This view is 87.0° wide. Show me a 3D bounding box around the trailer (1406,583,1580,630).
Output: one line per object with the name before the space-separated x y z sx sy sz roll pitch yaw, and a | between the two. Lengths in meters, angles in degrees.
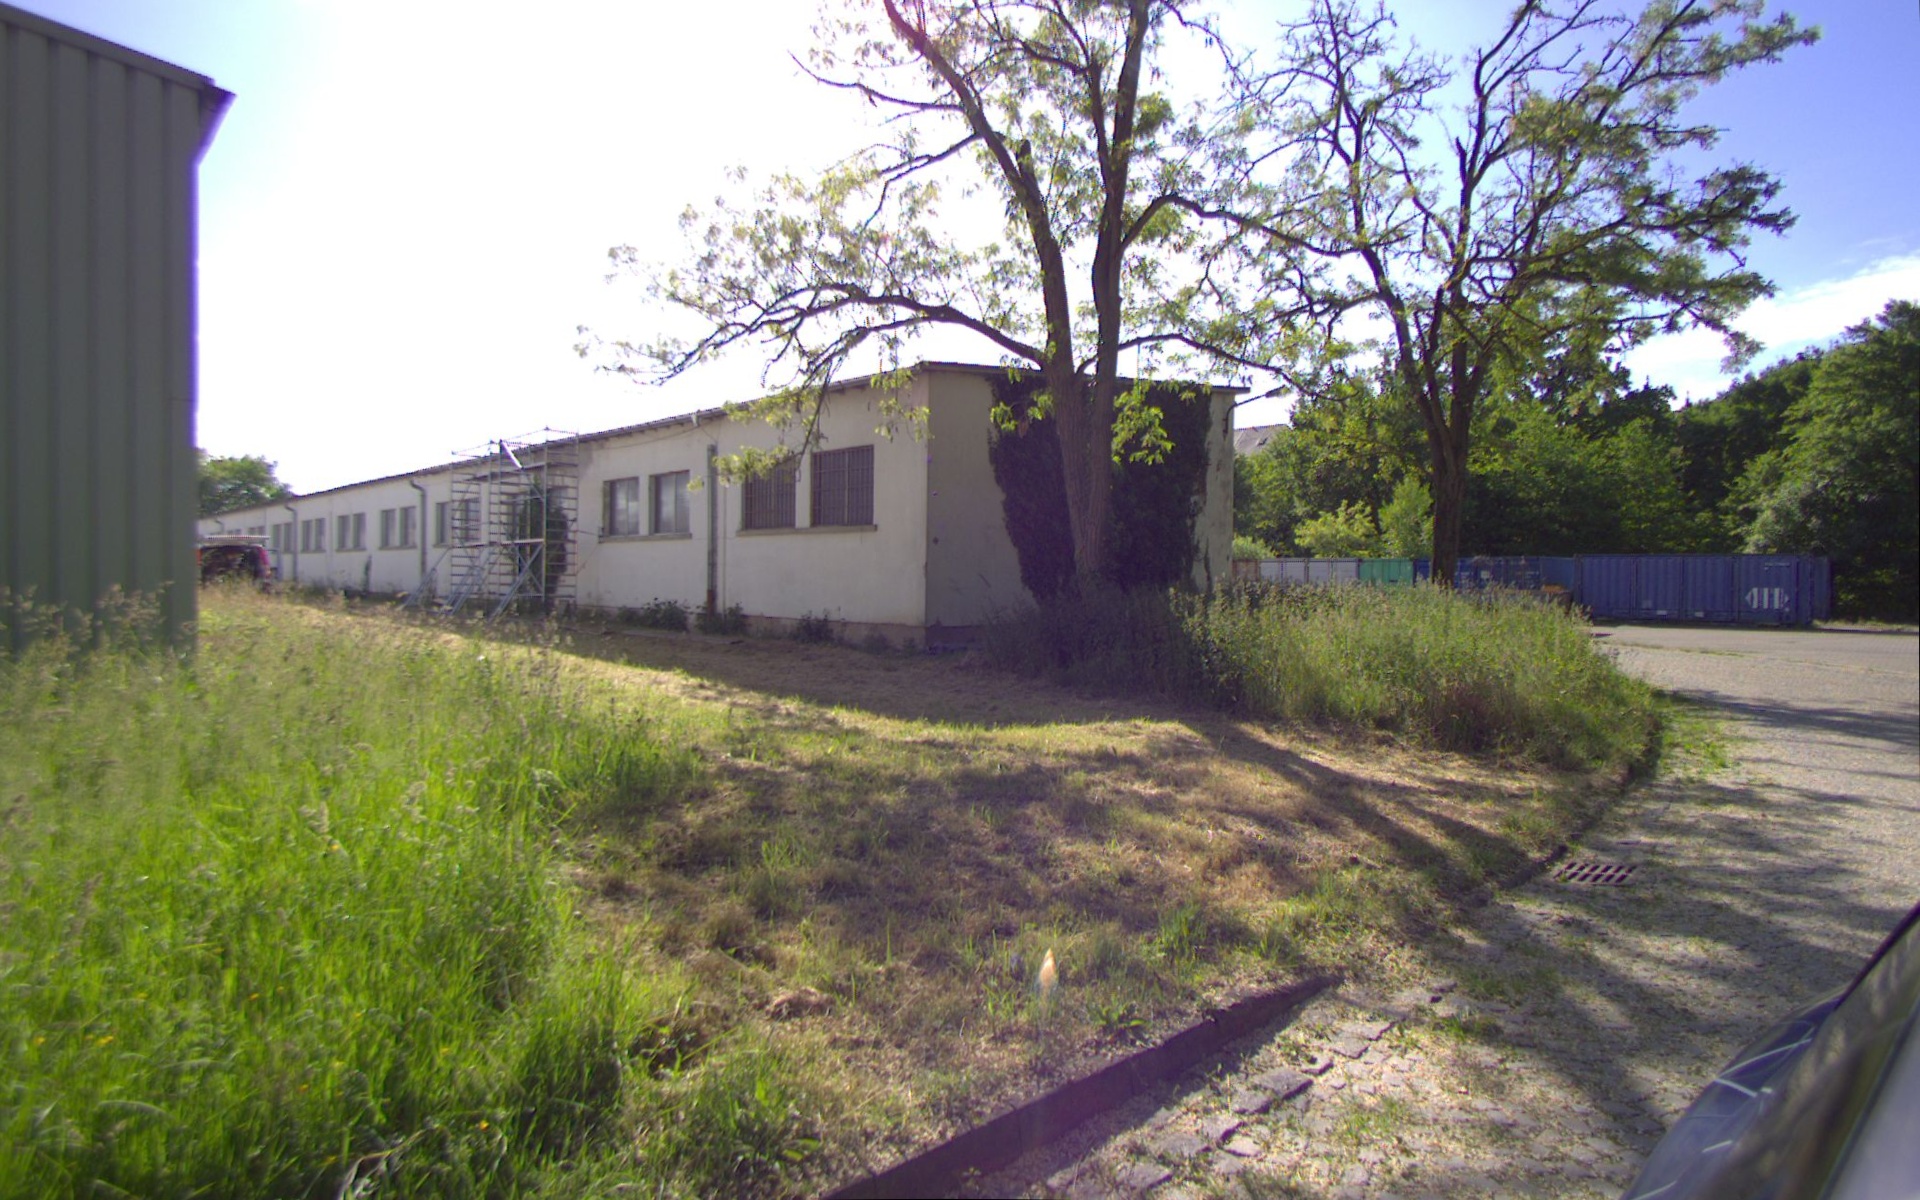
trailer | 18.560 0.158 35.371 2.607 1.432 4.849 -1 3 -45

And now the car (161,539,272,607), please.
car | -22.221 -0.851 30.203 2.045 1.852 4.263 -4 4 -44
